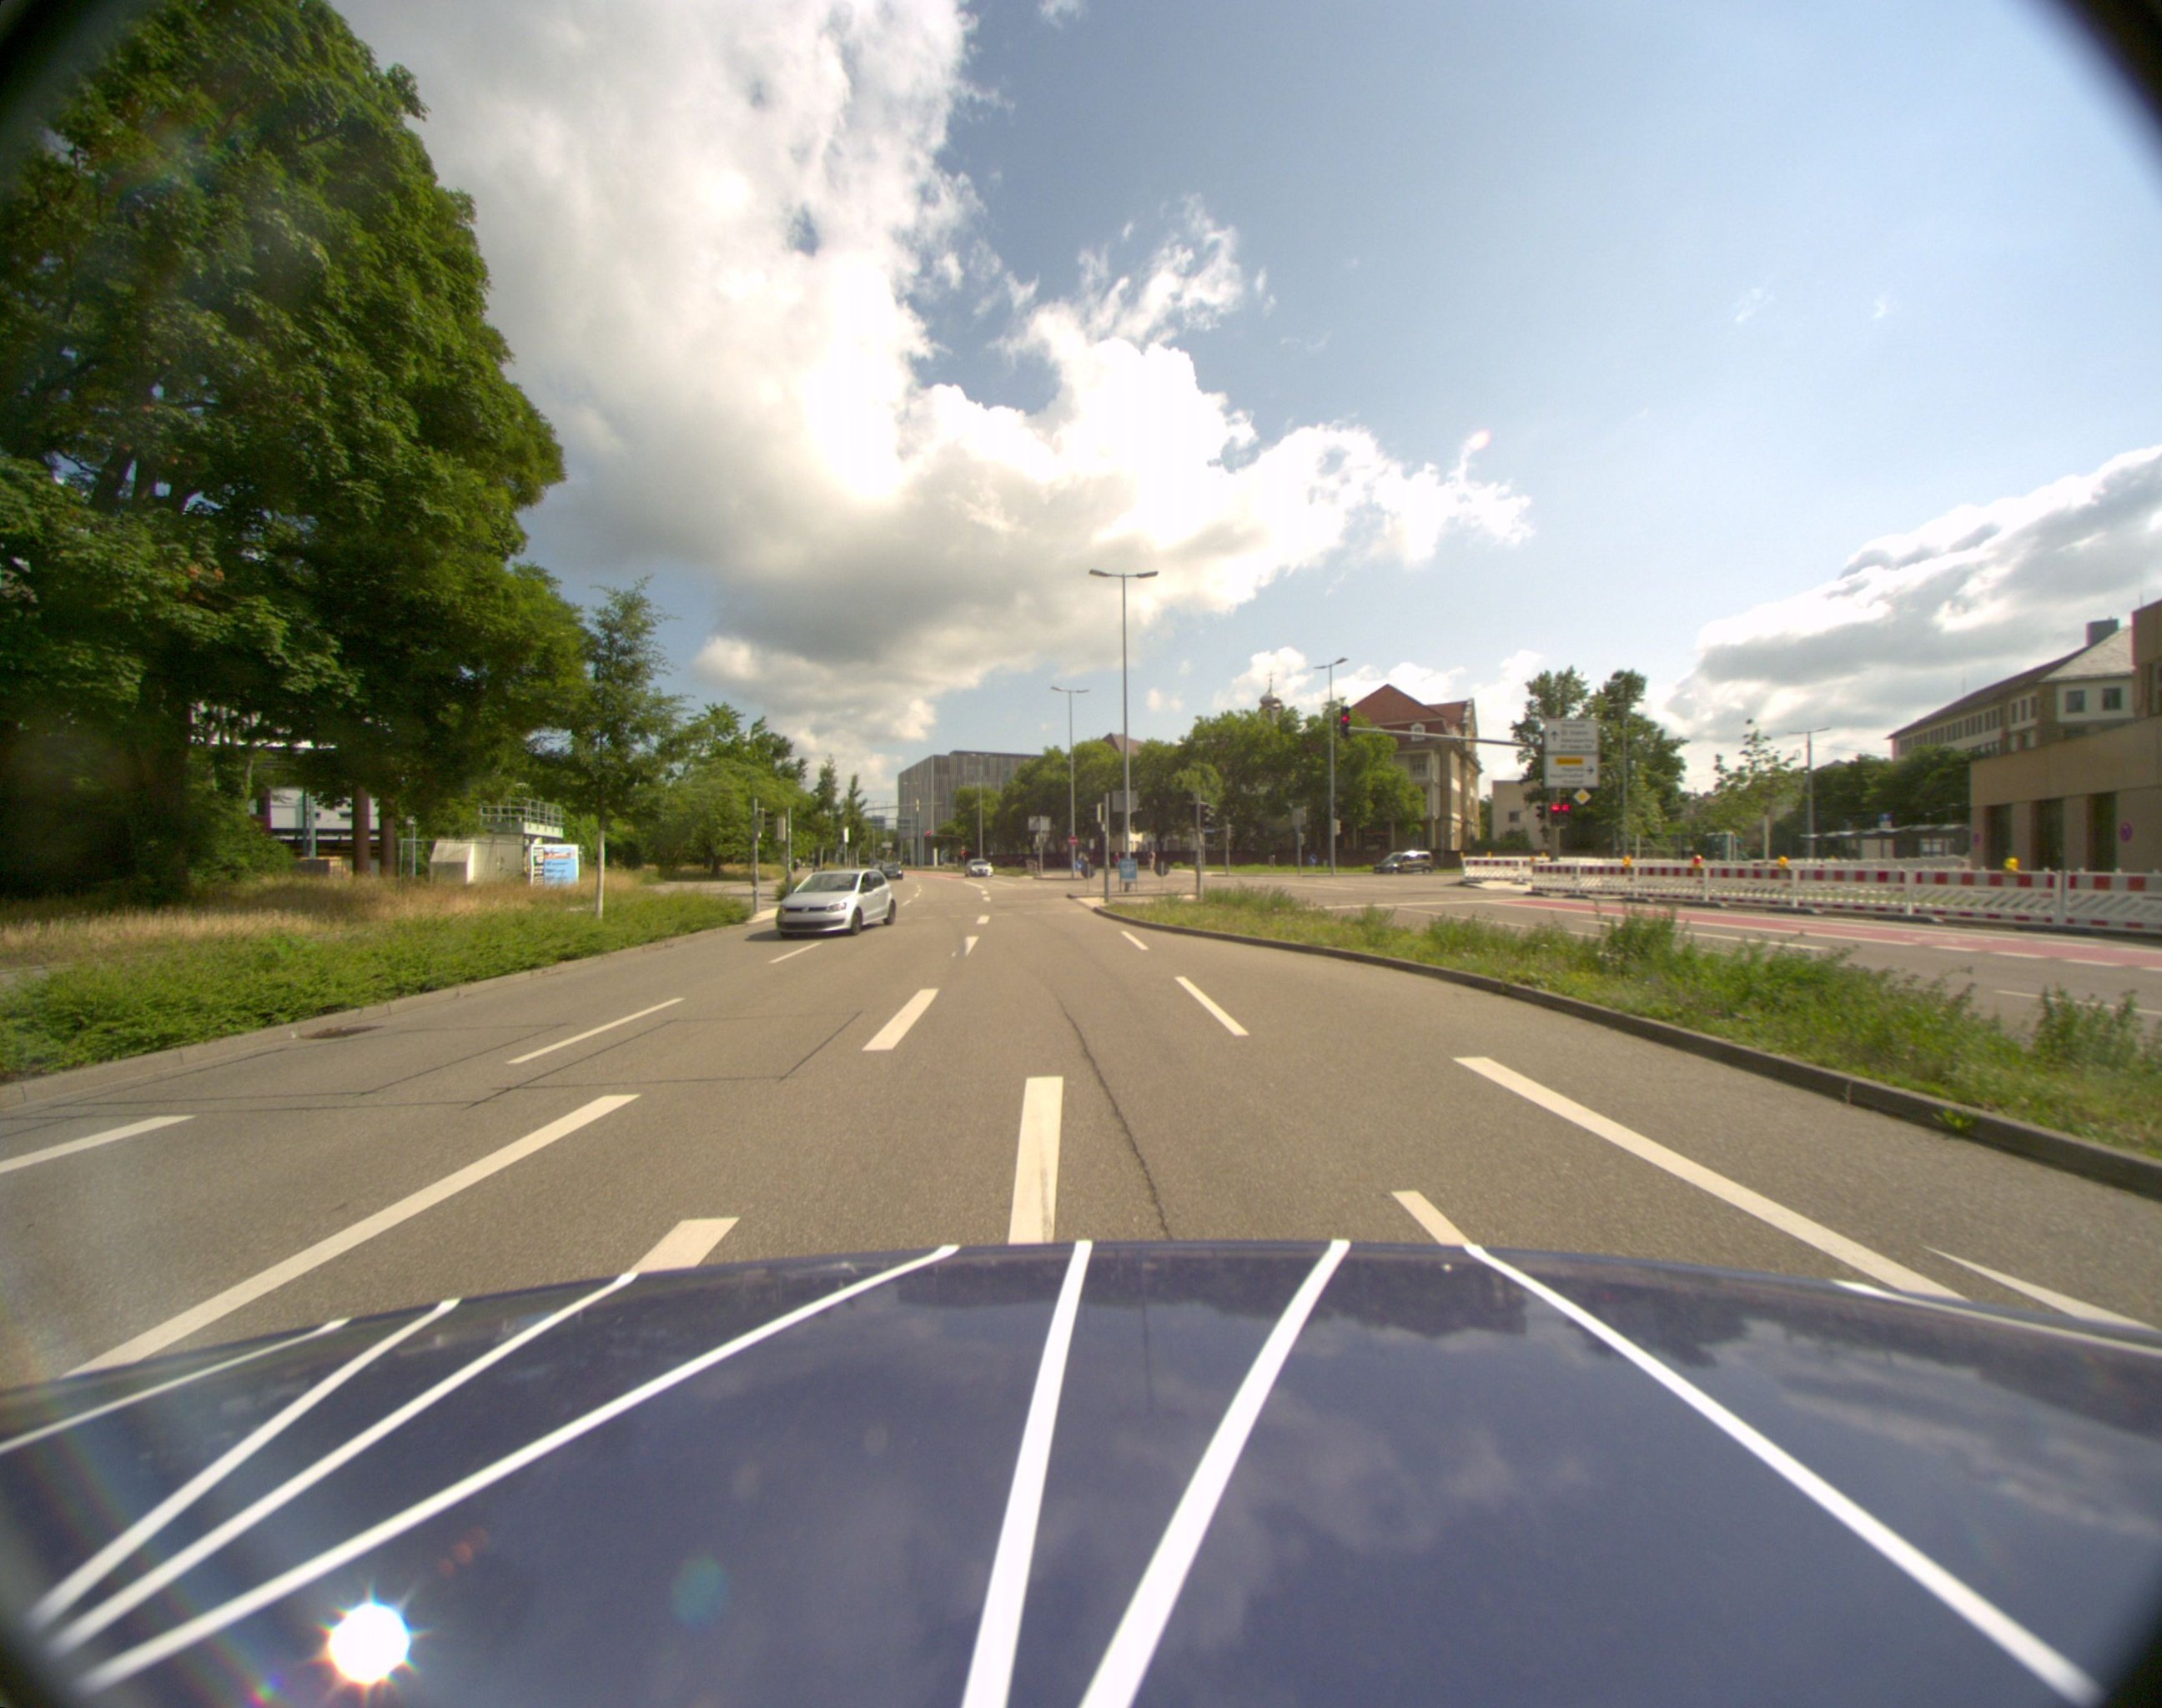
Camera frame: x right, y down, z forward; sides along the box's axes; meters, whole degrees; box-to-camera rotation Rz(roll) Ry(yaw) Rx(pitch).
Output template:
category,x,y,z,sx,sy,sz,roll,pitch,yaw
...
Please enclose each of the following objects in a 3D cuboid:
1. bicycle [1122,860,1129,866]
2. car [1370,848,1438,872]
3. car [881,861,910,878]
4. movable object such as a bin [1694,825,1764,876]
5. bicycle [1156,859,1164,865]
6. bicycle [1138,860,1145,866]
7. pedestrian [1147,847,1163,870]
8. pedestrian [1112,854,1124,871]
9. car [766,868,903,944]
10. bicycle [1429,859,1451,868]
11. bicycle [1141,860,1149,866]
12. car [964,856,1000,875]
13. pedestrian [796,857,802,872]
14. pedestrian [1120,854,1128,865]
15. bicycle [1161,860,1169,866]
category,x,y,z,sx,sy,sz,roll,pitch,yaw
bicycle,6.115,1.255,104.080,0.975,0.843,0.481,0,0,-45
car,24.178,0.455,56.889,4.676,1.774,1.852,0,-1,-21
car,-15.252,1.256,62.225,2.002,1.369,4.154,0,0,-18
movable object such as a bin,38.876,-0.194,45.738,1.995,2.932,4.458,0,0,24
bicycle,10.404,1.073,99.753,0.975,0.843,0.481,0,0,-45
bicycle,8.140,1.203,101.986,0.975,0.843,0.481,0,0,-45
pedestrian,6.233,0.382,63.945,0.697,1.846,1.183,-3,-1,44
pedestrian,3.924,0.894,80.627,0.751,1.770,0.963,-1,1,-32
car,-5.467,1.092,17.398,1.655,1.433,4.006,-1,0,3
bicycle,37.694,1.003,79.853,2.056,0.856,0.860,0,2,21
bicycle,8.543,1.181,101.606,0.975,0.843,0.481,0,0,-45
car,-8.464,0.940,64.533,2.064,1.434,4.772,-3,1,-18
pedestrian,-30.574,1.179,82.434,0.543,1.597,0.523,0,-2,-27
pedestrian,5.845,0.704,103.248,0.727,1.525,0.722,-1,1,-39
bicycle,10.925,1.157,99.108,1.076,0.843,0.498,0,0,-45
